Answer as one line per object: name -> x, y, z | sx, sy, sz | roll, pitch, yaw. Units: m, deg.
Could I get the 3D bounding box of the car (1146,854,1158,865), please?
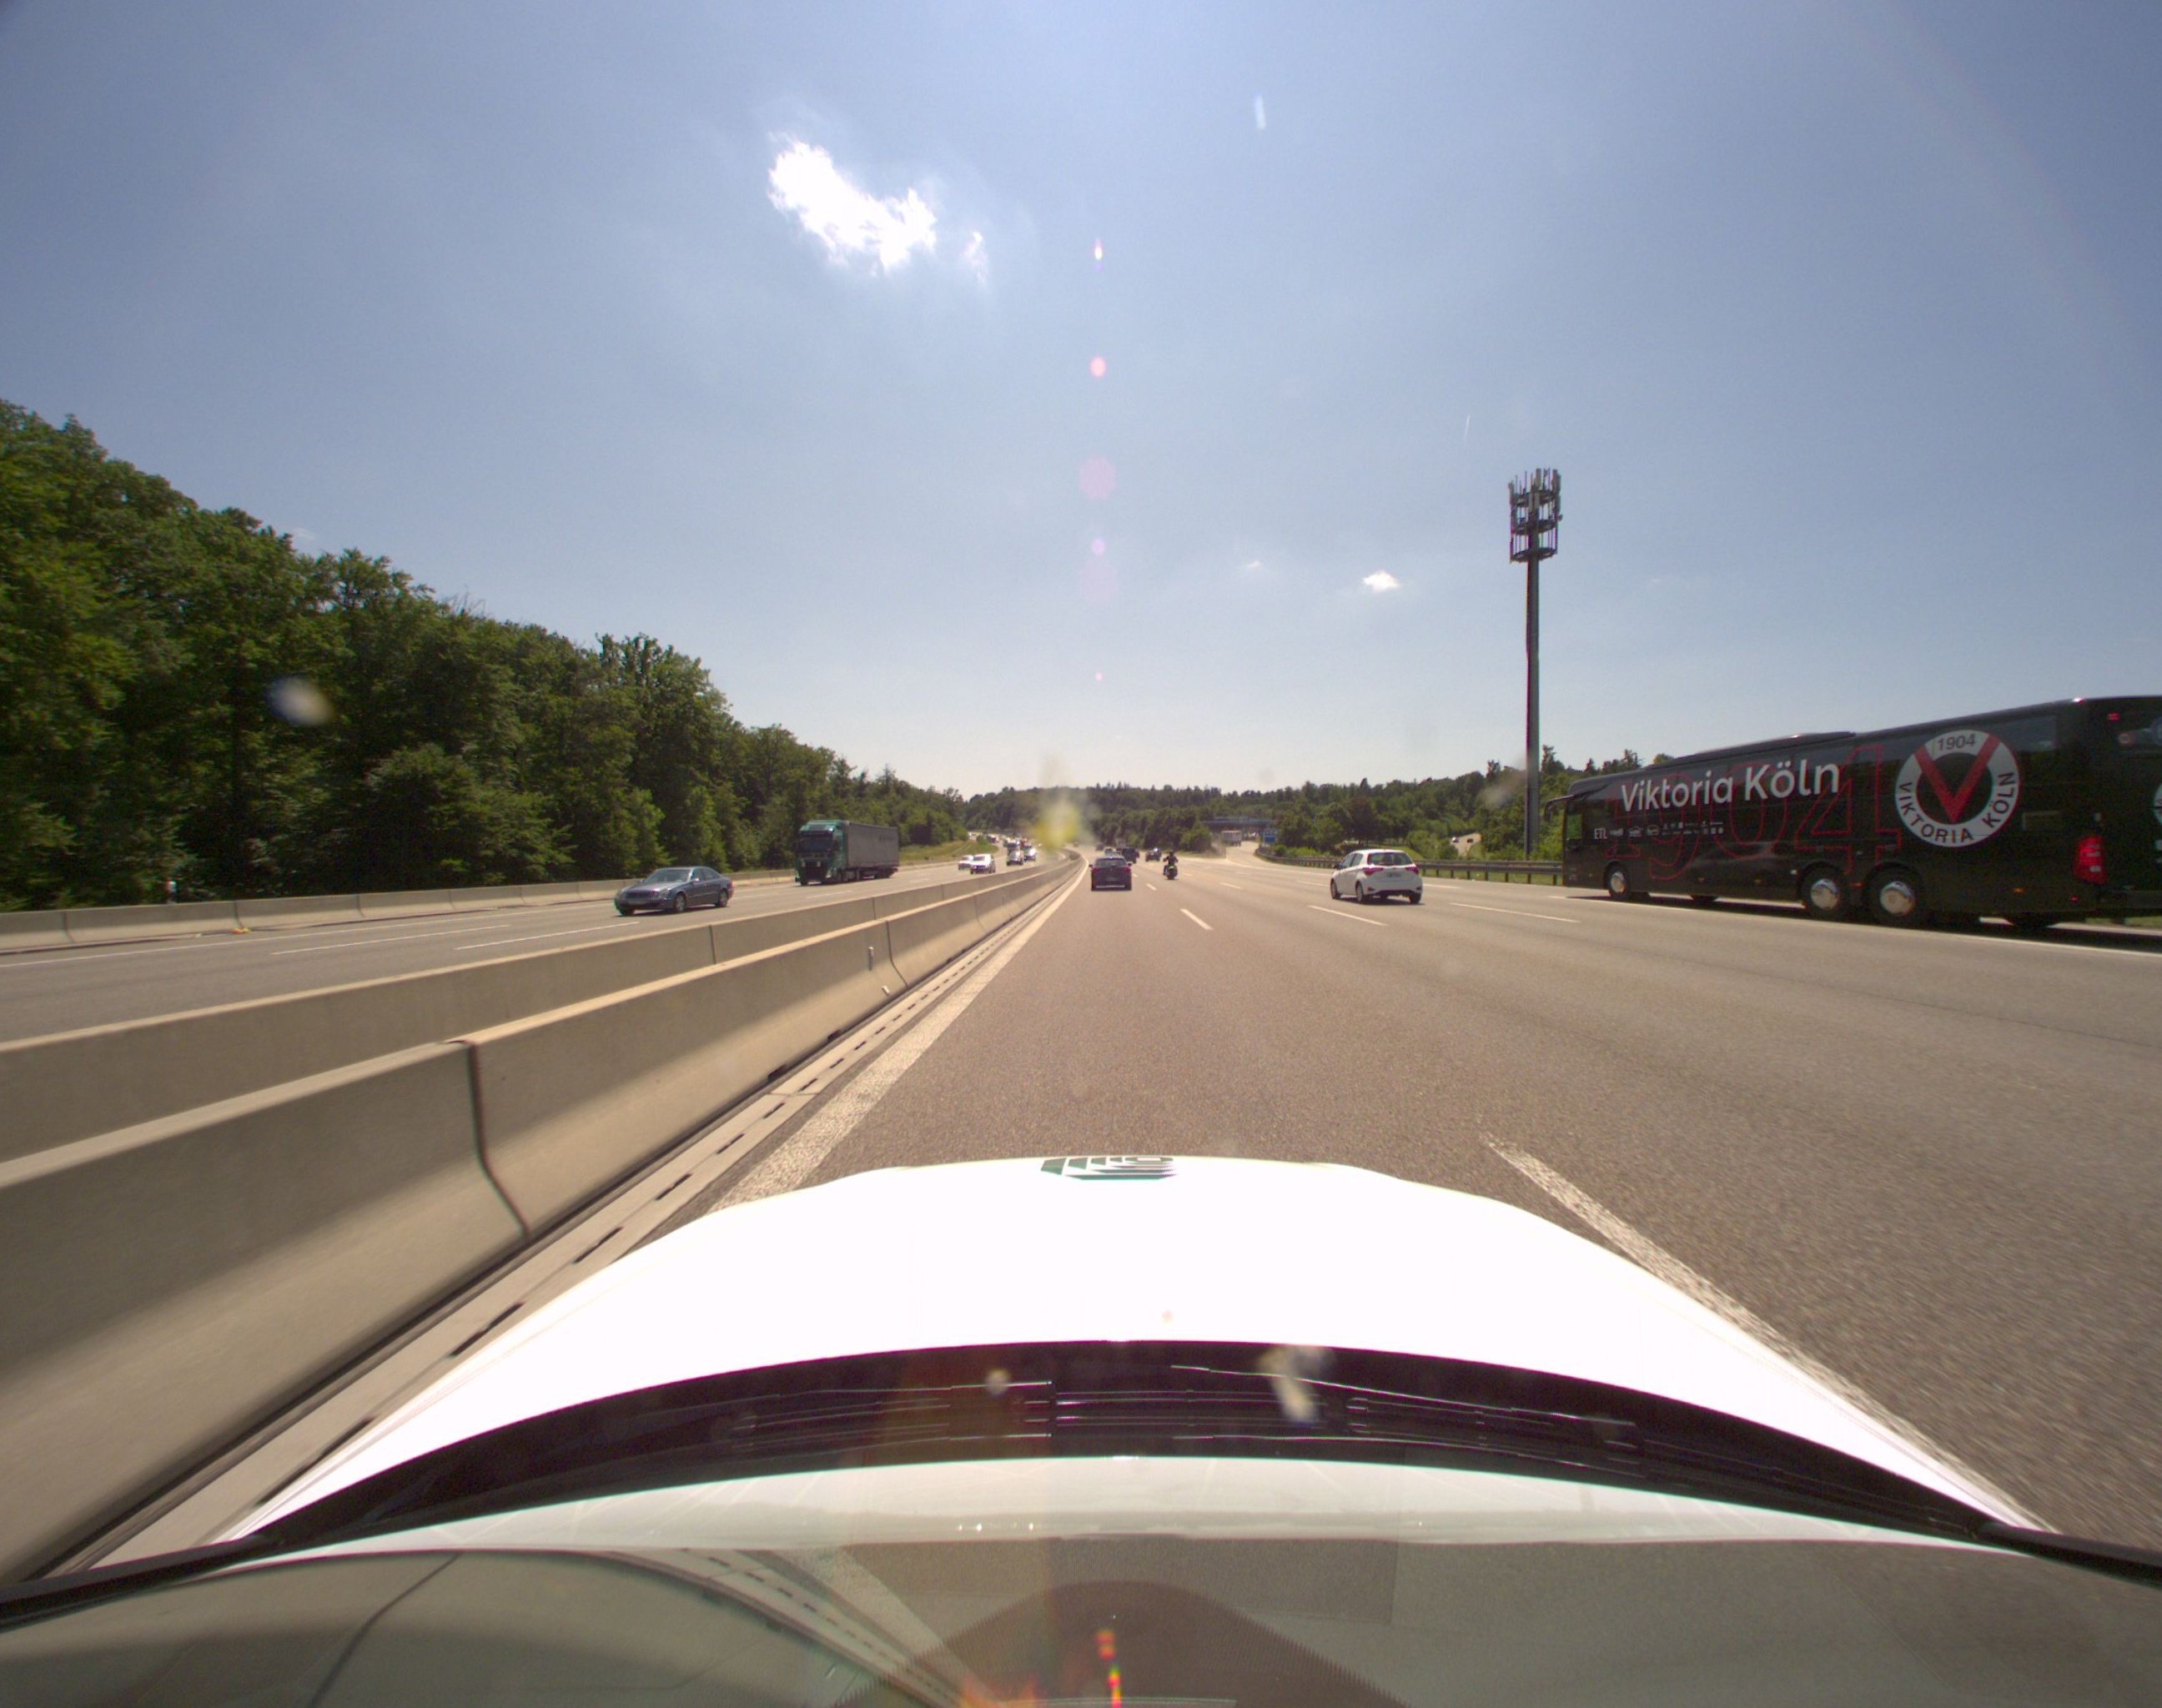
car -> 9.575, 0.708, 109.935 | 1.667, 1.432, 3.689 | 1, 0, 4

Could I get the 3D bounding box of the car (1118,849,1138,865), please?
car -> 5.776, 0.402, 99.908 | 2.091, 1.851, 4.079 | -1, 0, -1

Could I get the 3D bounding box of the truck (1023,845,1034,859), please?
truck -> -16.010, -0.678, 248.502 | 2.523, 4.177, 9.617 | -1, 0, 0

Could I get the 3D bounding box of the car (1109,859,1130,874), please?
car -> 3.375, 1.120, 71.670 | 1.776, 1.265, 3.460 | -1, 0, 1

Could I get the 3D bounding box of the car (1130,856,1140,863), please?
car -> 9.577, 0.899, 143.911 | 1.603, 1.212, 3.460 | 0, -1, 1

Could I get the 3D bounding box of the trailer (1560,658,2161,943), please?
trailer -> 15.305, -0.624, 17.264 | 2.846, 3.688, 13.550 | 0, -1, 2

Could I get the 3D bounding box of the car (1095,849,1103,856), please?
car -> 5.389, -0.571, 246.639 | 1.988, 2.013, 4.672 | 2, 1, -2

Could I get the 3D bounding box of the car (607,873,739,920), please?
car -> -13.070, 1.308, 26.471 | 1.825, 1.301, 4.730 | 0, -1, 1

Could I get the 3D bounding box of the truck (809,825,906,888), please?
truck -> -15.990, 0.230, 59.685 | 2.680, 4.026, 14.303 | -1, 0, 2

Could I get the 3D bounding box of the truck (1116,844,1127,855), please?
truck -> 11.054, -1.299, 223.047 | 2.719, 2.786, 5.680 | 2, 1, -2

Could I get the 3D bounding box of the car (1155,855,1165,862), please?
car -> 14.093, 0.788, 145.074 | 1.603, 1.212, 3.461 | -1, 0, 1

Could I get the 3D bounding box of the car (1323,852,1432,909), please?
car -> 8.496, 0.711, 23.749 | 1.660, 1.433, 4.377 | -3, -1, 2

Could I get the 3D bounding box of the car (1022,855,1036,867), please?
car -> -8.610, 1.136, 135.871 | 1.866, 1.940, 5.775 | -1, -1, 1

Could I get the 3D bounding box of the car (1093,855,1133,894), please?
car -> 1.376, 0.841, 34.839 | 1.618, 1.487, 3.688 | 0, 1, 3

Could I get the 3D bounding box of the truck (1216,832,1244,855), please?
truck -> 42.870, -3.032, 235.003 | 5.488, 6.266, 15.433 | -1, 0, 1

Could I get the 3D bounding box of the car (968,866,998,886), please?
car -> -8.226, 1.843, 68.891 | 1.825, 1.562, 4.778 | -1, -1, 1

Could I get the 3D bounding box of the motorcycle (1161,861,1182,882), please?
motorcycle -> 5.069, 0.952, 45.747 | 0.974, 1.129, 2.272 | 0, 0, 1

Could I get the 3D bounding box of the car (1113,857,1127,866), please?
car -> 6.011, 1.178, 125.606 | 1.837, 1.222, 4.222 | 2, 1, -2

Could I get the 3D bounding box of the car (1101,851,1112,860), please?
car -> 5.275, 0.284, 171.320 | 1.988, 1.684, 4.421 | 2, 1, -2

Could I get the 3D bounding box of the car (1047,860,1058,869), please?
car -> -4.773, 1.836, 137.278 | 1.596, 1.468, 4.506 | -1, -1, 1

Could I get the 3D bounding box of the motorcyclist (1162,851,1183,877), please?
motorcyclist -> 5.117, 0.541, 45.609 | 0.959, 1.437, 1.234 | -1, 0, -2

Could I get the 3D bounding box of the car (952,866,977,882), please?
car -> -12.037, 2.019, 84.137 | 1.866, 1.534, 4.136 | -1, -1, 1

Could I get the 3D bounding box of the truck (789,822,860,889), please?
truck -> -16.238, 0.097, 51.902 | 2.648, 4.026, 5.511 | -1, 0, 1

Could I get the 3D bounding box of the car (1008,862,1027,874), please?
car -> -8.163, 1.742, 104.928 | 1.866, 1.476, 5.113 | -1, -1, 1
